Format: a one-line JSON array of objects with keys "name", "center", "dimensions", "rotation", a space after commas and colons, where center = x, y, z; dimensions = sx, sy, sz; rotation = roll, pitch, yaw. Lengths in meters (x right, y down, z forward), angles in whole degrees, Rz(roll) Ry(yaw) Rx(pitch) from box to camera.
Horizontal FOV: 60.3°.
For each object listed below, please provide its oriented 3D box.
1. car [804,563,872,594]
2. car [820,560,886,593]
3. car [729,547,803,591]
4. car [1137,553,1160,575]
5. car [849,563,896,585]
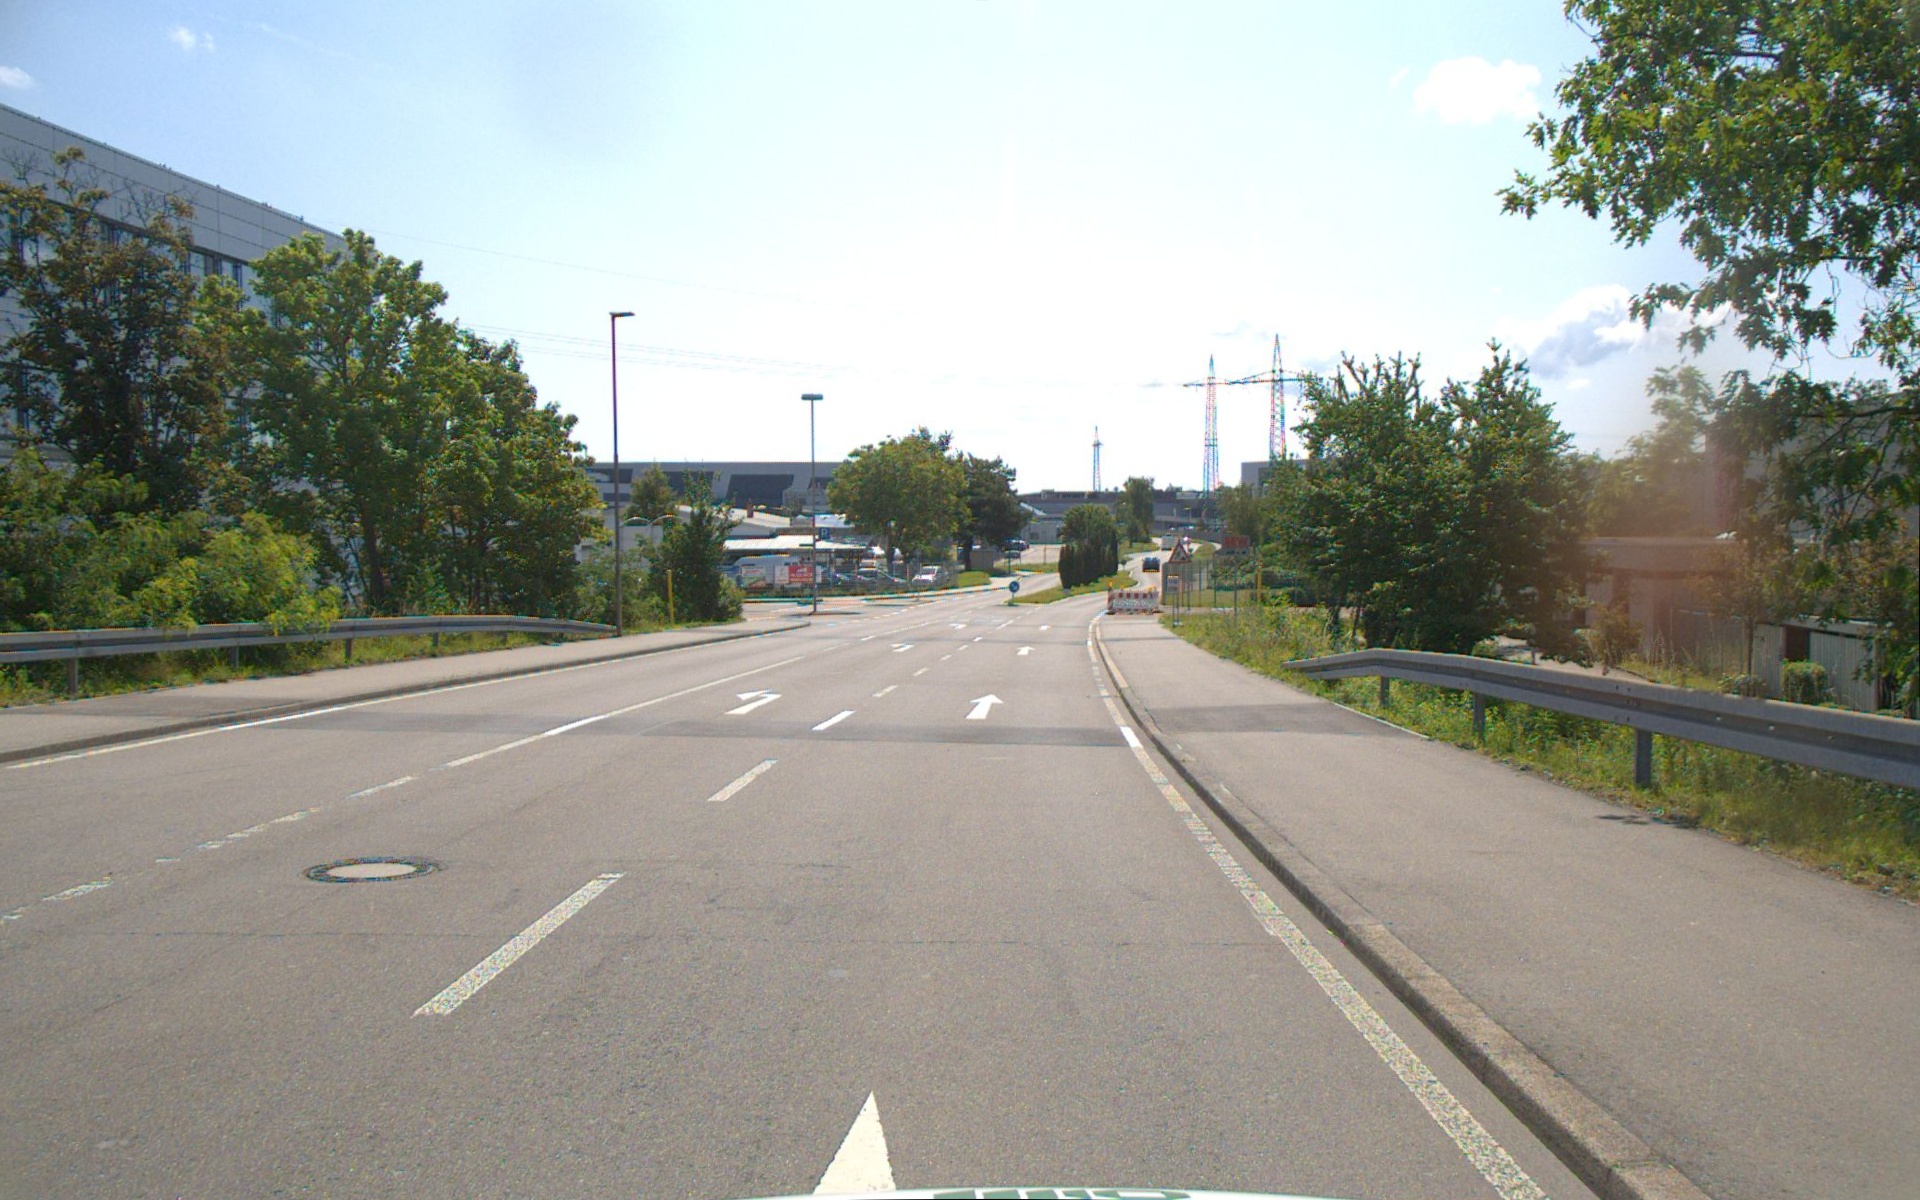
[{"name": "car", "center": [-7.794, -1.373, 105.759], "dimensions": [3.914, 1.811, 1.996], "rotation": [2, 3, 31]}, {"name": "car", "center": [-6.977, -1.546, 107.588], "dimensions": [3.915, 1.936, 1.996], "rotation": [2, 3, 32]}, {"name": "car", "center": [-11.958, -1.891, 101.897], "dimensions": [4.274, 2.654, 1.994], "rotation": [1, 1, 33]}, {"name": "car", "center": [19.322, -3.747, 169.810], "dimensions": [2.224, 1.979, 4.670], "rotation": [3, 4, 6]}, {"name": "car", "center": [-7.450, -2.212, 140.102], "dimensions": [3.910, 1.882, 1.832], "rotation": [0, 1, -6]}]
